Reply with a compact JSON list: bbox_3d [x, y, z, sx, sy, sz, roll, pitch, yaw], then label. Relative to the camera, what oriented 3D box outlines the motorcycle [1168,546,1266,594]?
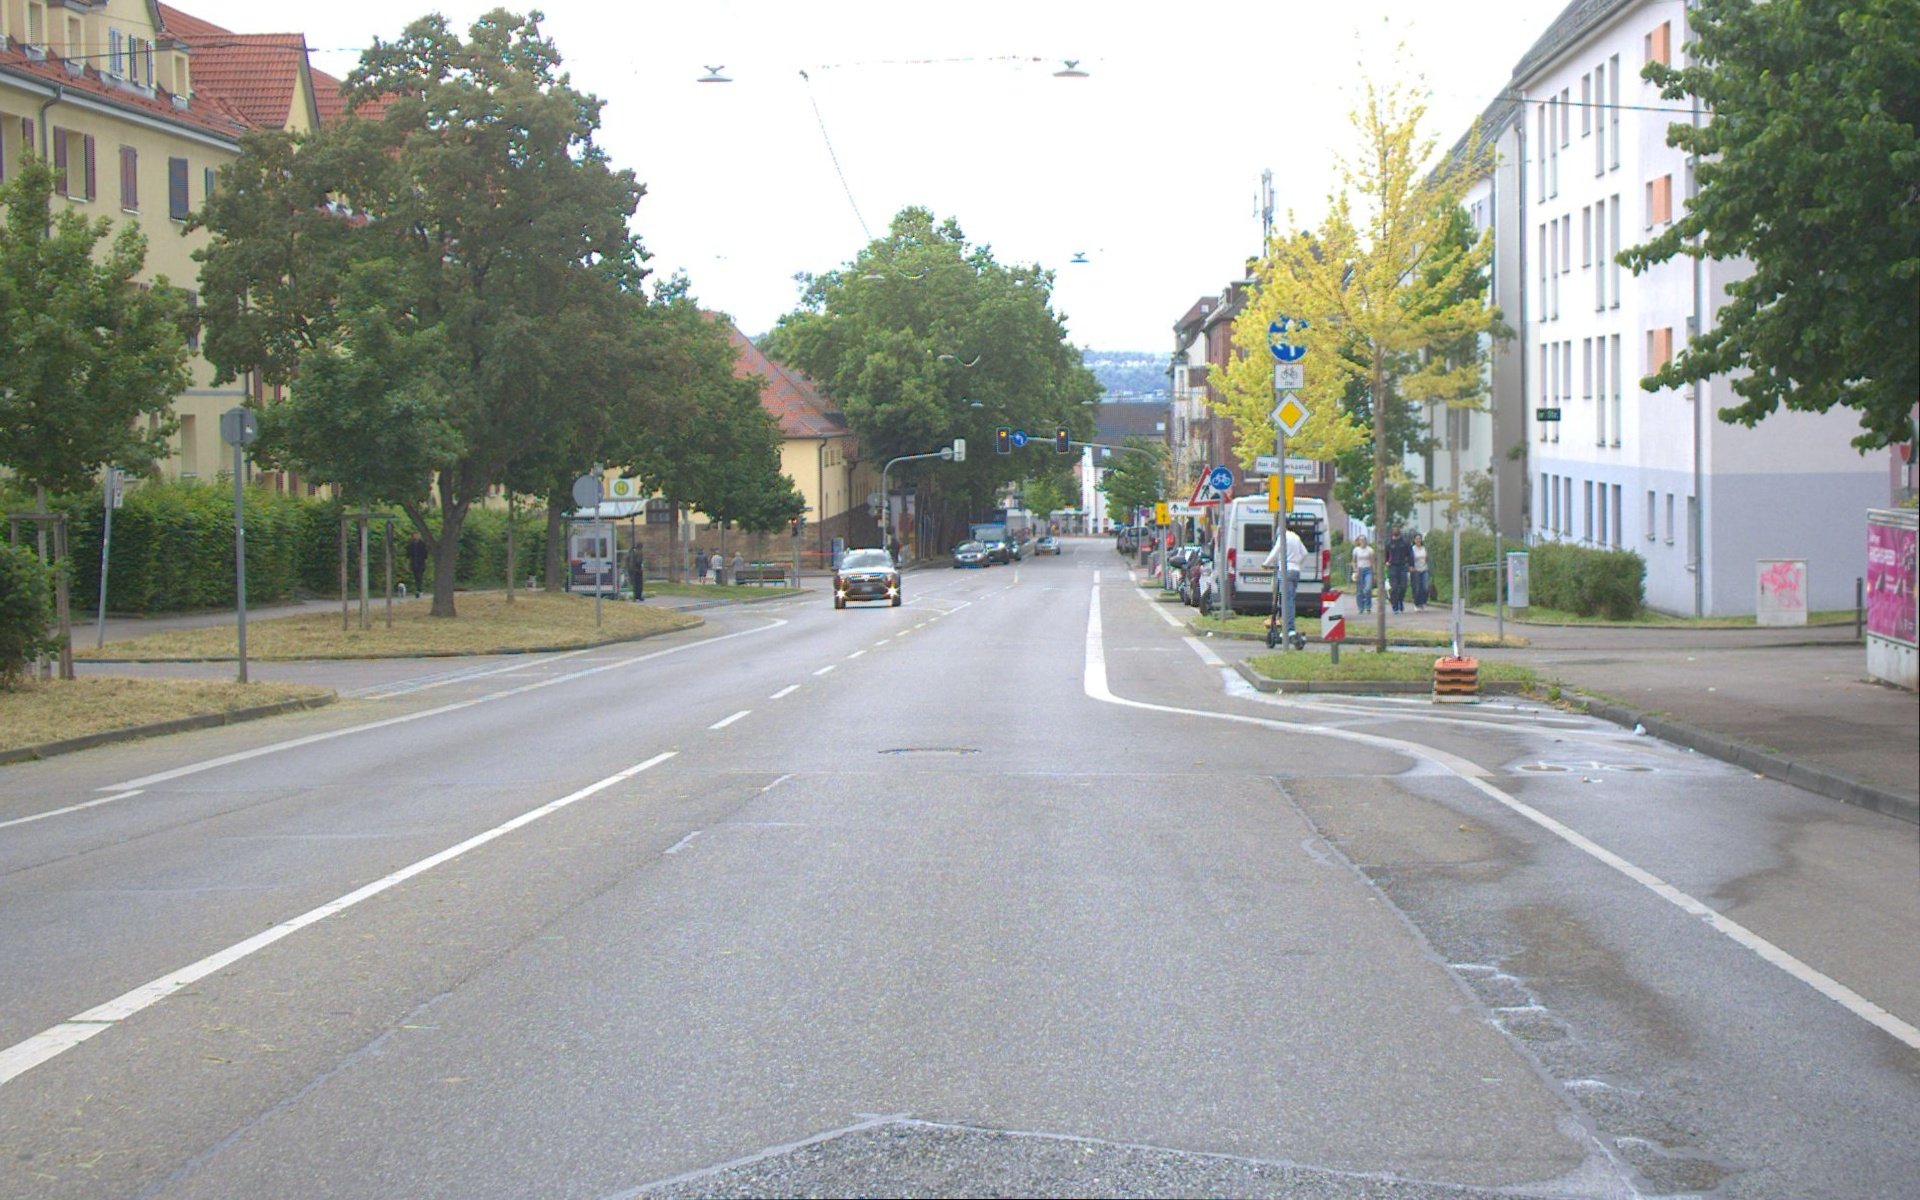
[{"bbox_3d":[7.041,-0.825,94.181,2.597,1.274,0.753,0,1,-1],"label":"motorcycle"}]

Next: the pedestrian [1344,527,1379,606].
[{"bbox_3d":[8.450,-0.702,72.374,0.576,1.638,0.562,-1,0,-12],"label":"pedestrian"}]

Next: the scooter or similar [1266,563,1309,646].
[{"bbox_3d":[4.847,0.054,50.945,0.490,1.159,2.075,0,1,2],"label":"scooter or similar"}]

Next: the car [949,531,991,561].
[{"bbox_3d":[0.544,-2.803,178.111,1.756,1.467,4.306,-1,1,5],"label":"car"}]

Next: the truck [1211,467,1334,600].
[{"bbox_3d":[6.234,-1.348,69.073,2.052,2.556,5.690,0,1,1],"label":"truck"}]

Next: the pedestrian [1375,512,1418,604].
[{"bbox_3d":[9.047,-0.862,71.295,0.670,1.880,0.766,-1,0,-10],"label":"pedestrian"}]

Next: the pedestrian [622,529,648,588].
[{"bbox_3d":[-9.520,-1.232,100.836,0.597,1.721,0.861,1,1,5],"label":"pedestrian"}]

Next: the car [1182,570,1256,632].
[{"bbox_3d":[6.840,0.008,91.012,1.680,1.539,4.339,0,1,1],"label":"car"}]

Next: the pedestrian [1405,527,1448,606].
[{"bbox_3d":[9.716,-0.707,71.672,0.656,1.599,0.575,-4,2,-7],"label":"pedestrian"}]

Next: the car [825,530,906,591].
[{"bbox_3d":[-2.593,-1.117,94.928,1.899,1.614,4.361,0,1,3],"label":"car"}]

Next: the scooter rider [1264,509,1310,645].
[{"bbox_3d":[4.845,-0.347,50.997,0.625,2.007,0.758,0,1,1],"label":"scooter rider"}]

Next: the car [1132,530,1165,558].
[{"bbox_3d":[12.936,-3.858,236.272,1.993,1.929,4.919,0,1,0],"label":"car"}]

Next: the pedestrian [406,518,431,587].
[{"bbox_3d":[-14.003,-1.242,88.933,0.513,1.773,0.753,0,1,2],"label":"pedestrian"}]
